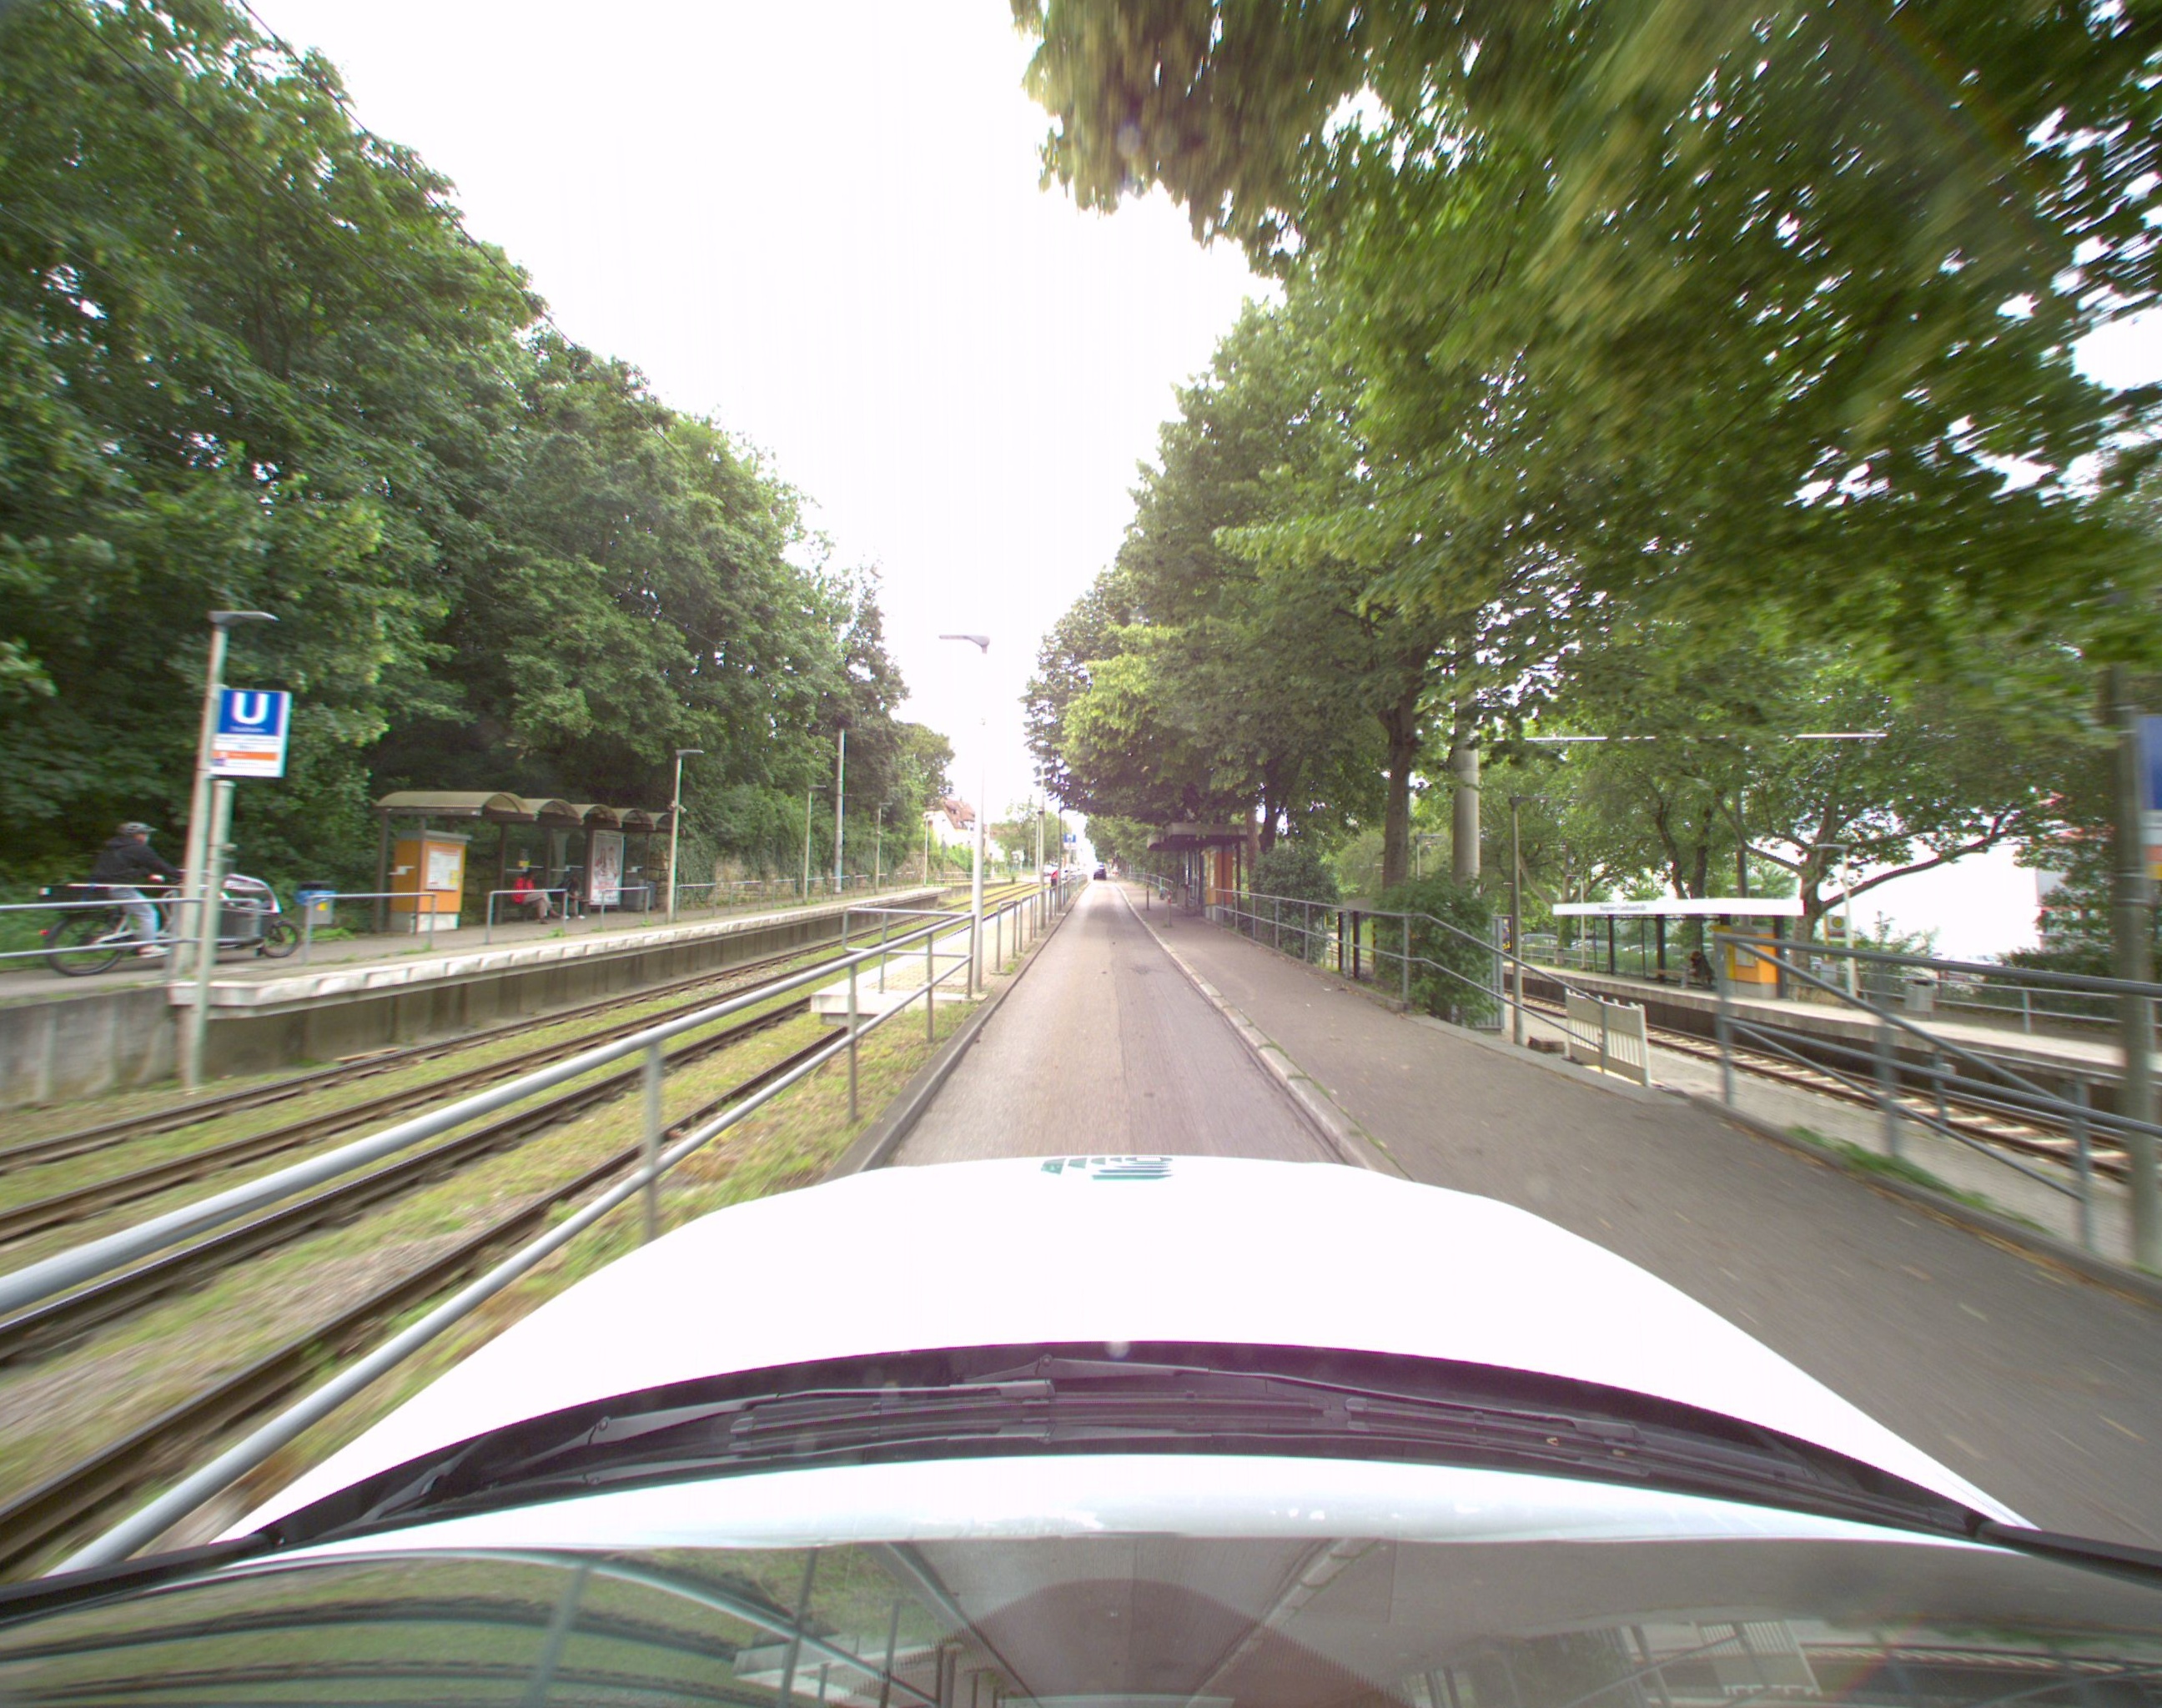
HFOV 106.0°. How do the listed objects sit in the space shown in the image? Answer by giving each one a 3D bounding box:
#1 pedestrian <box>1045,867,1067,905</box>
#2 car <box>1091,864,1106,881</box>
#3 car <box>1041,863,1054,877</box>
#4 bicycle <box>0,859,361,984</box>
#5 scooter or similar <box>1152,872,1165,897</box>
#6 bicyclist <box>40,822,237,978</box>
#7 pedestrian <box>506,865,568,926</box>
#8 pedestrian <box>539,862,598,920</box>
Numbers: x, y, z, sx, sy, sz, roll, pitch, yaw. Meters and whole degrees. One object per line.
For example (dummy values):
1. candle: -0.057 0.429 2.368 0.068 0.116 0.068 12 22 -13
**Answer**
1. pedestrian: -0.960 1.261 31.978 0.740 1.409 0.747 4 0 1
2. car: 2.479 2.616 114.918 1.986 2.146 3.999 4 -4 1
3. car: -5.786 2.803 140.741 1.986 2.146 3.999 4 -4 1
4. bicycle: -11.256 0.742 10.486 0.730 1.289 3.350 4 0 4
5. scooter or similar: 3.641 1.436 38.327 0.342 1.157 1.144 4 -4 -5
6. bicyclist: -11.292 0.517 9.822 0.730 1.711 1.294 3 0 4
7. pedestrian: -12.451 0.942 18.668 0.769 1.326 0.787 4 -1 1
8. pedestrian: -12.403 0.900 19.736 0.769 1.326 0.787 4 -4 1
